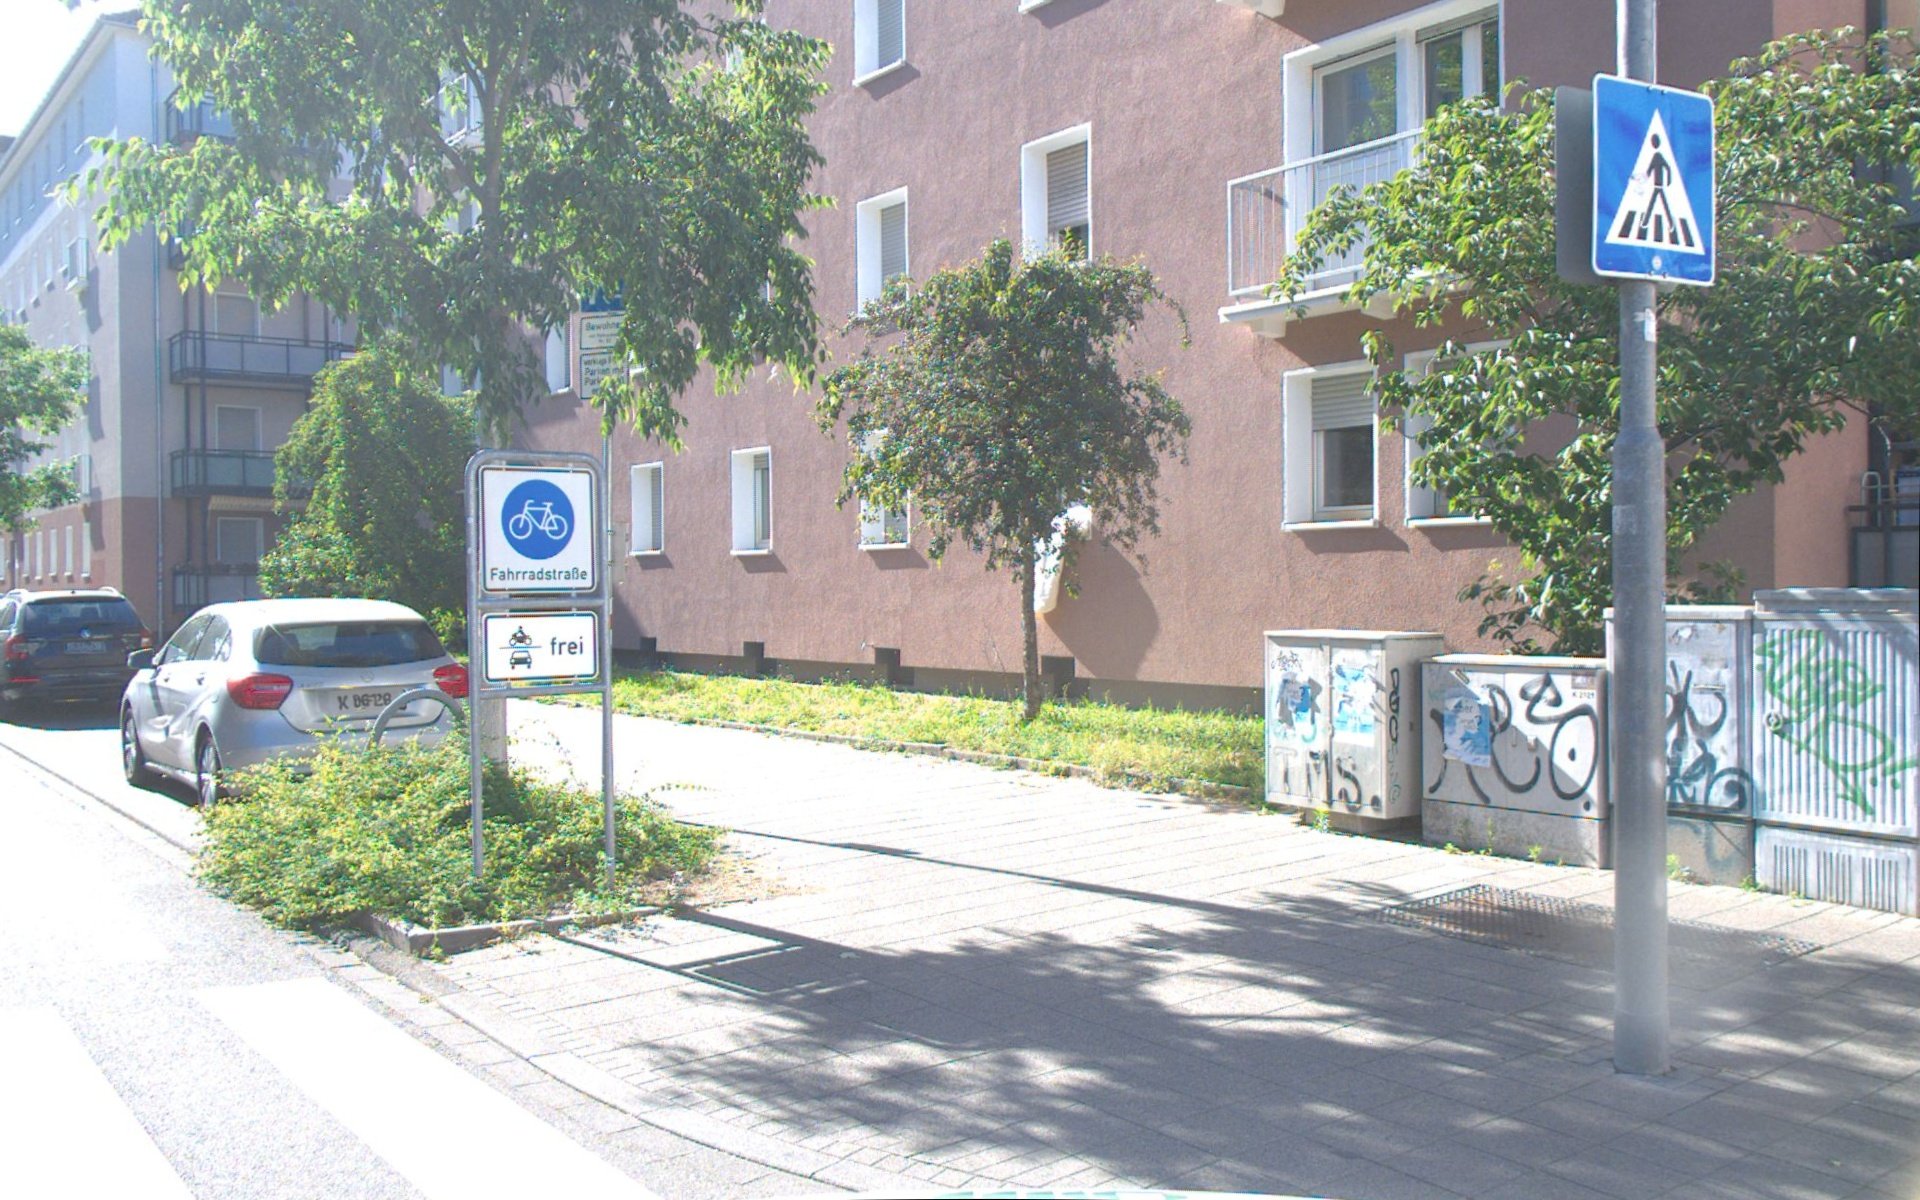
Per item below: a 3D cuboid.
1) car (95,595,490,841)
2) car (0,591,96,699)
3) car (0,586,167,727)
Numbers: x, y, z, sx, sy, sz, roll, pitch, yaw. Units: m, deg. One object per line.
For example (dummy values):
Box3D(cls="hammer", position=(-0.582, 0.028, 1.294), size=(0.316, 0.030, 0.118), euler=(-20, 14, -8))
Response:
Box3D(cls="car", position=(-5.073, 0.711, 12.245), size=(1.727, 1.479, 4.101), euler=(-1, 1, -37))
Box3D(cls="car", position=(-14.632, 0.642, 25.587), size=(1.726, 1.546, 3.809), euler=(-1, 1, -36))
Box3D(cls="car", position=(-11.238, 0.617, 20.557), size=(1.769, 1.546, 4.254), euler=(-1, 1, -36))
